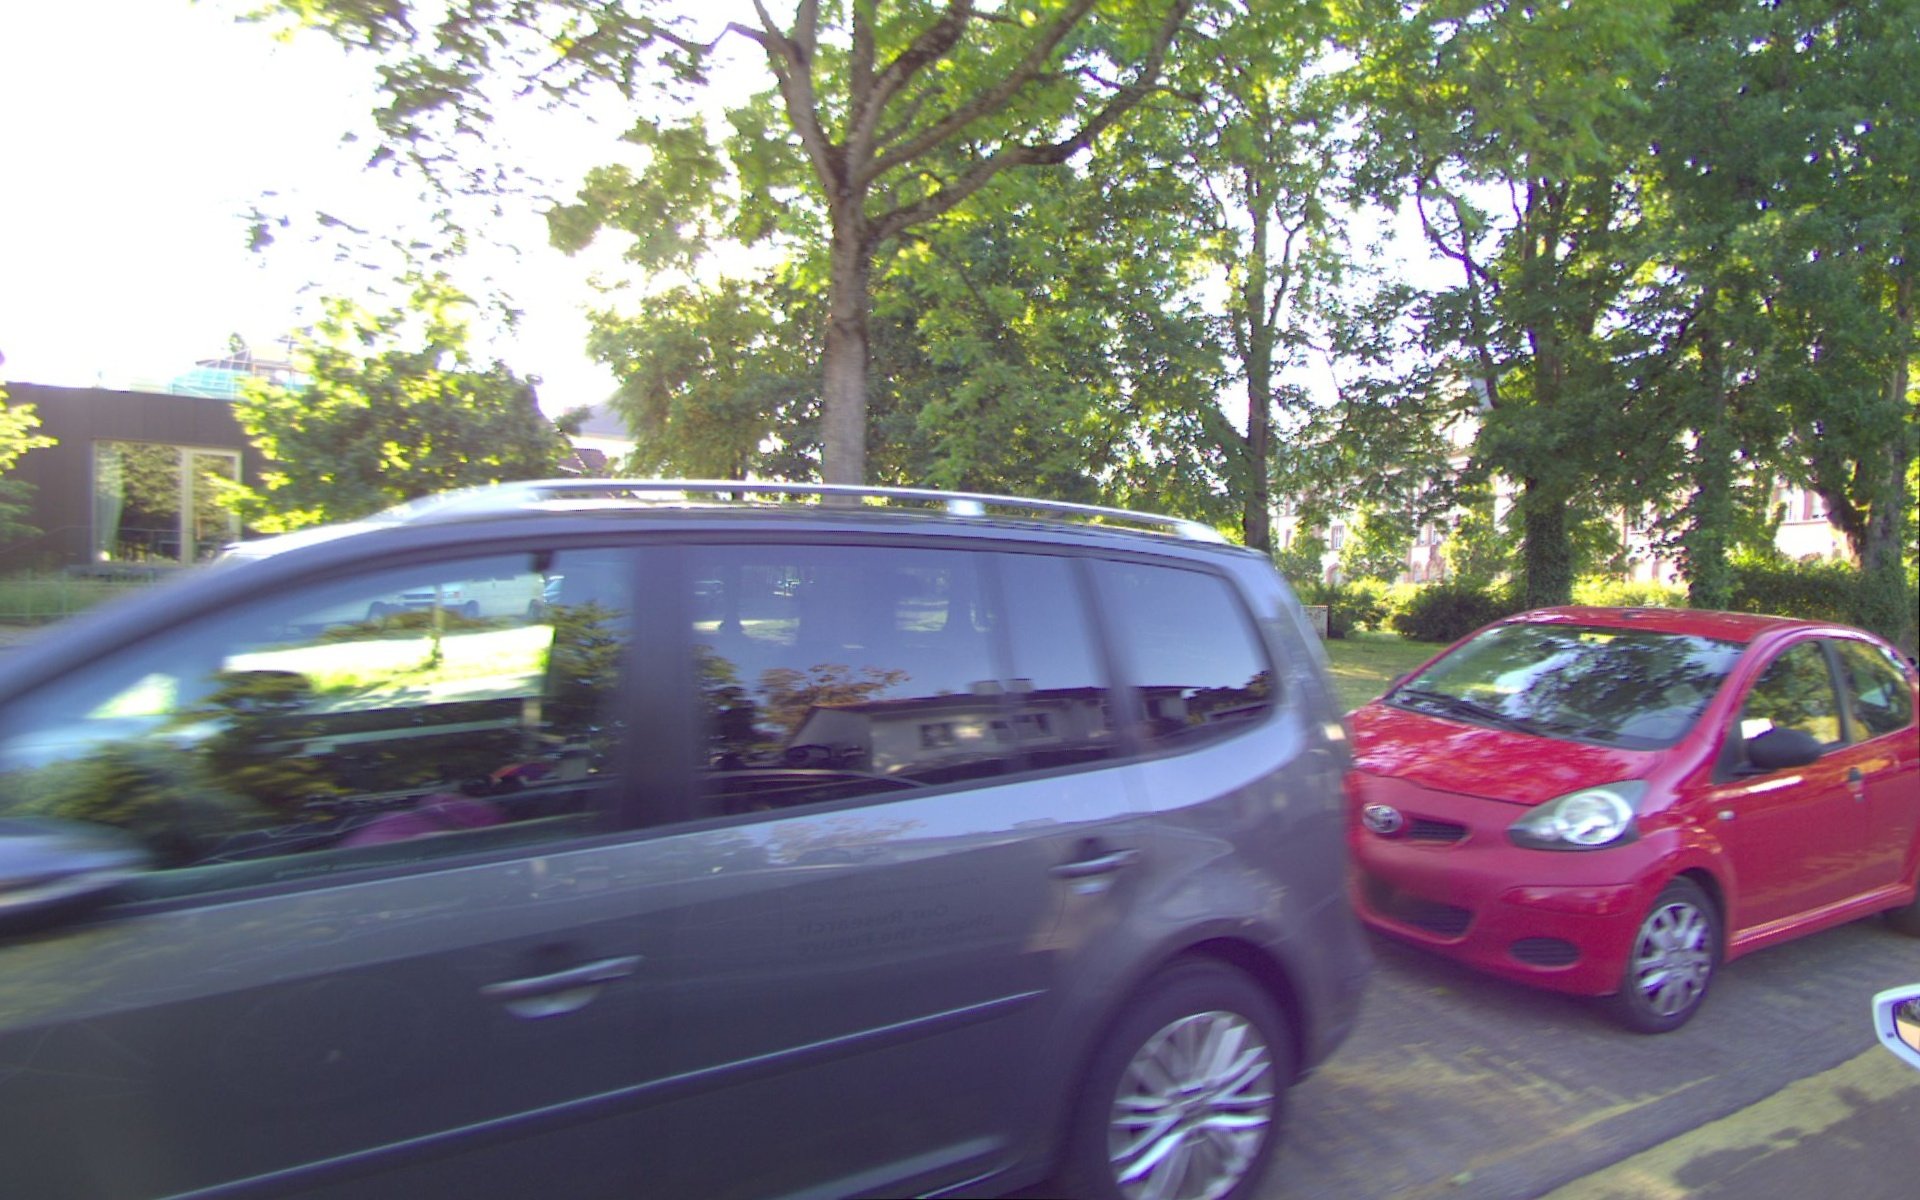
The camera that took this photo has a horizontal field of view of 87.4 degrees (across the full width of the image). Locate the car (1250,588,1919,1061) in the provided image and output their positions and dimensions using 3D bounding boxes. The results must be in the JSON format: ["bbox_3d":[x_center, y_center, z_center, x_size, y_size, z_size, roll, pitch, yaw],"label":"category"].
[{"bbox_3d":[3.116,0.743,4.566,3.383,1.443,1.382,1,3,-27],"label":"car"}]

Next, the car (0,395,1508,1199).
[{"bbox_3d":[-0.982,0.569,2.318,4.265,1.698,1.794,1,3,-27],"label":"car"}]

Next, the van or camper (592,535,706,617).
[{"bbox_3d":[-12.324,-0.935,40.333,2.054,2.947,6.334,2,1,5],"label":"van or camper"}]

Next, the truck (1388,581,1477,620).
[{"bbox_3d":[40.825,-0.016,87.054,2.567,3.070,7.989,2,1,-12],"label":"truck"}]

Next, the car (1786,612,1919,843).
[{"bbox_3d":[7.946,0.887,7.177,3.924,1.425,1.683,1,3,-27],"label":"car"}]

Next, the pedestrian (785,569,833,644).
[{"bbox_3d":[-3.304,0.125,22.002,0.760,1.596,0.768,2,1,17],"label":"pedestrian"}]

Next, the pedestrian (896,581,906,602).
[{"bbox_3d":[-4.694,-0.688,80.013,0.625,1.619,0.669,1,1,-15],"label":"pedestrian"}]

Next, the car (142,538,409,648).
[{"bbox_3d":[-14.022,-0.162,21.008,1.819,1.972,4.843,2,1,7],"label":"car"}]

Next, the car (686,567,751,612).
[{"bbox_3d":[-11.157,-0.492,46.652,1.820,1.911,4.144,2,1,2],"label":"car"}]

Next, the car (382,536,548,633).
[{"bbox_3d":[-13.452,-0.429,27.729,1.820,2.387,5.187,2,1,2],"label":"car"}]
